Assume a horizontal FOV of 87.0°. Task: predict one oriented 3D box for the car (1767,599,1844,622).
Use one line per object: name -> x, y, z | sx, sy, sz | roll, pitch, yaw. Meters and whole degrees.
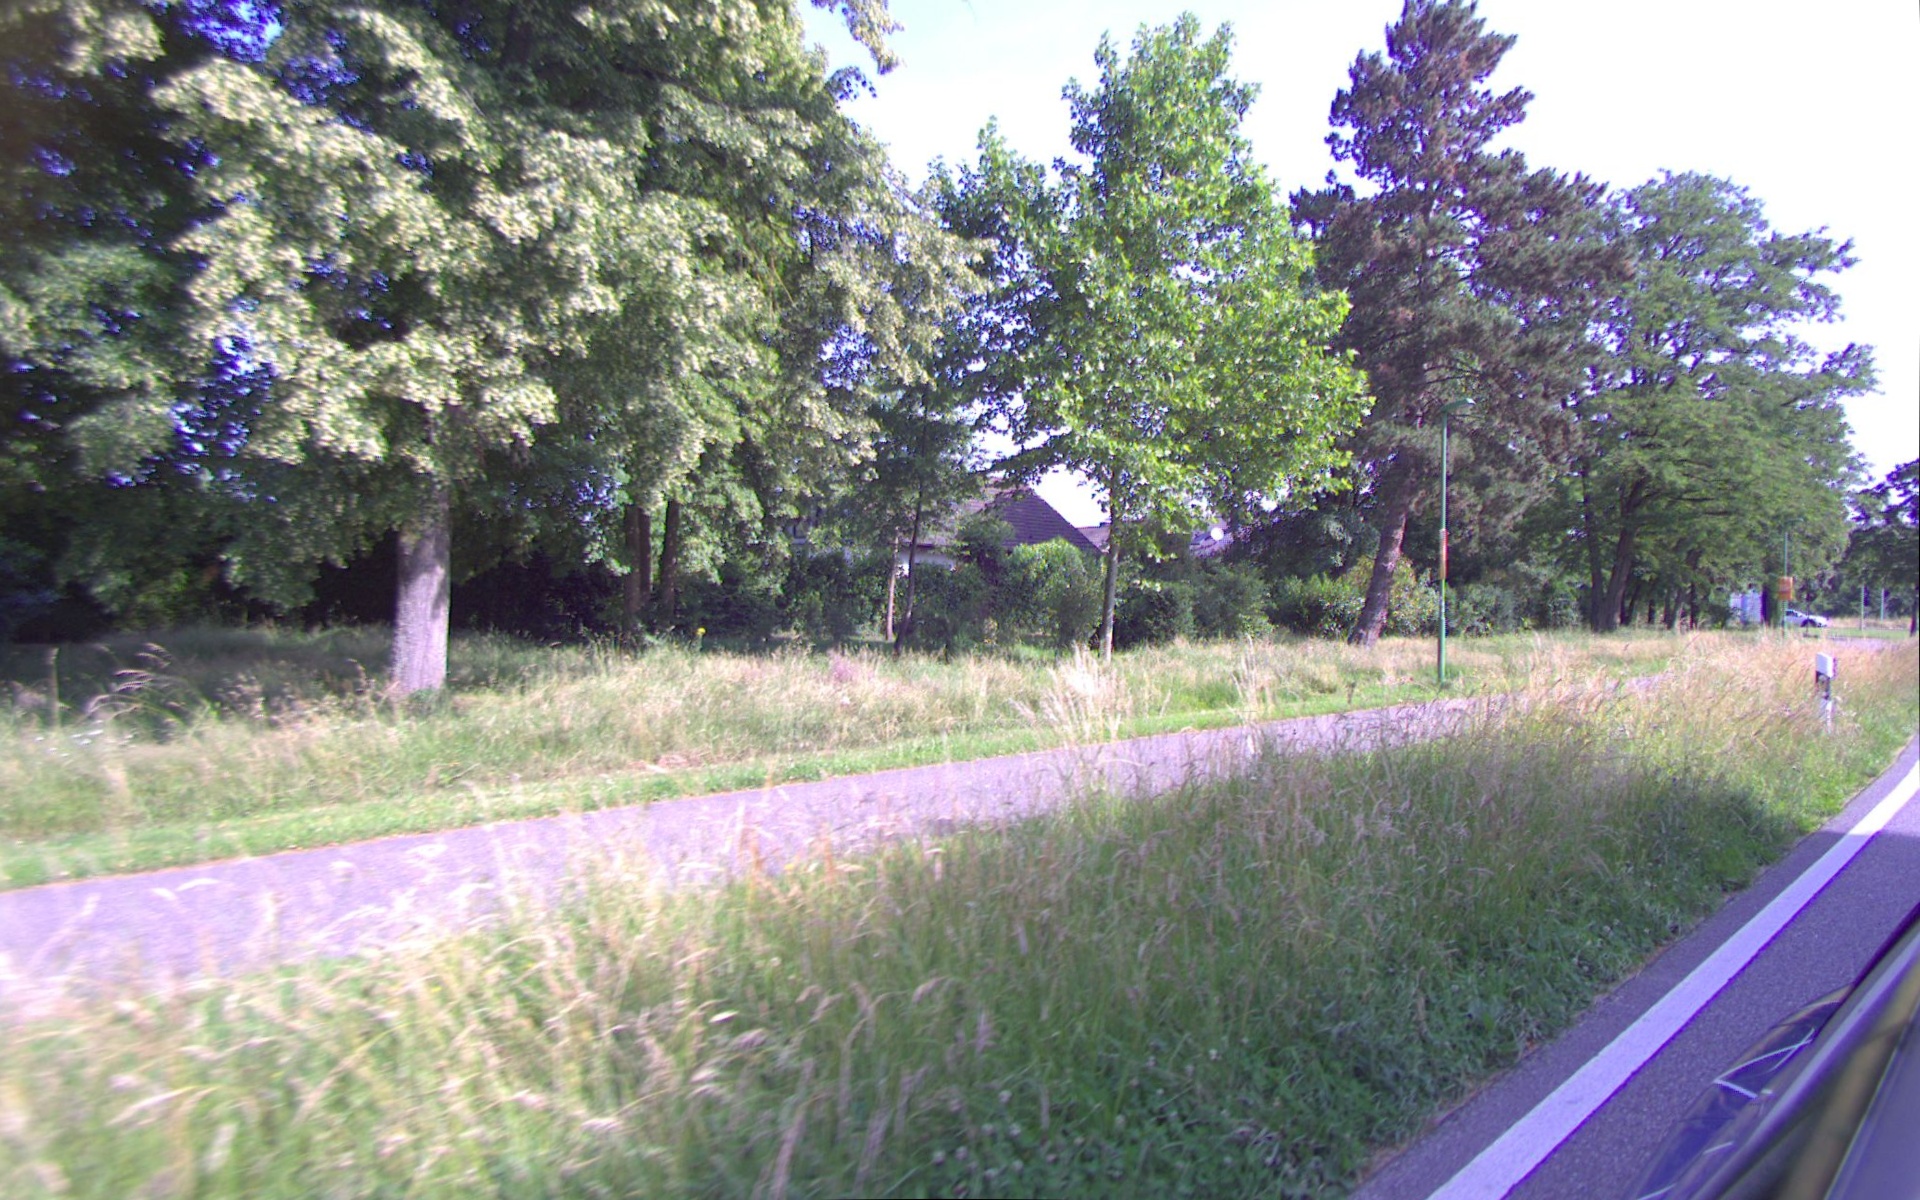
car -> 62.117, 0.765, 74.402 | 1.963, 1.504, 3.999 | 1, 1, -37
